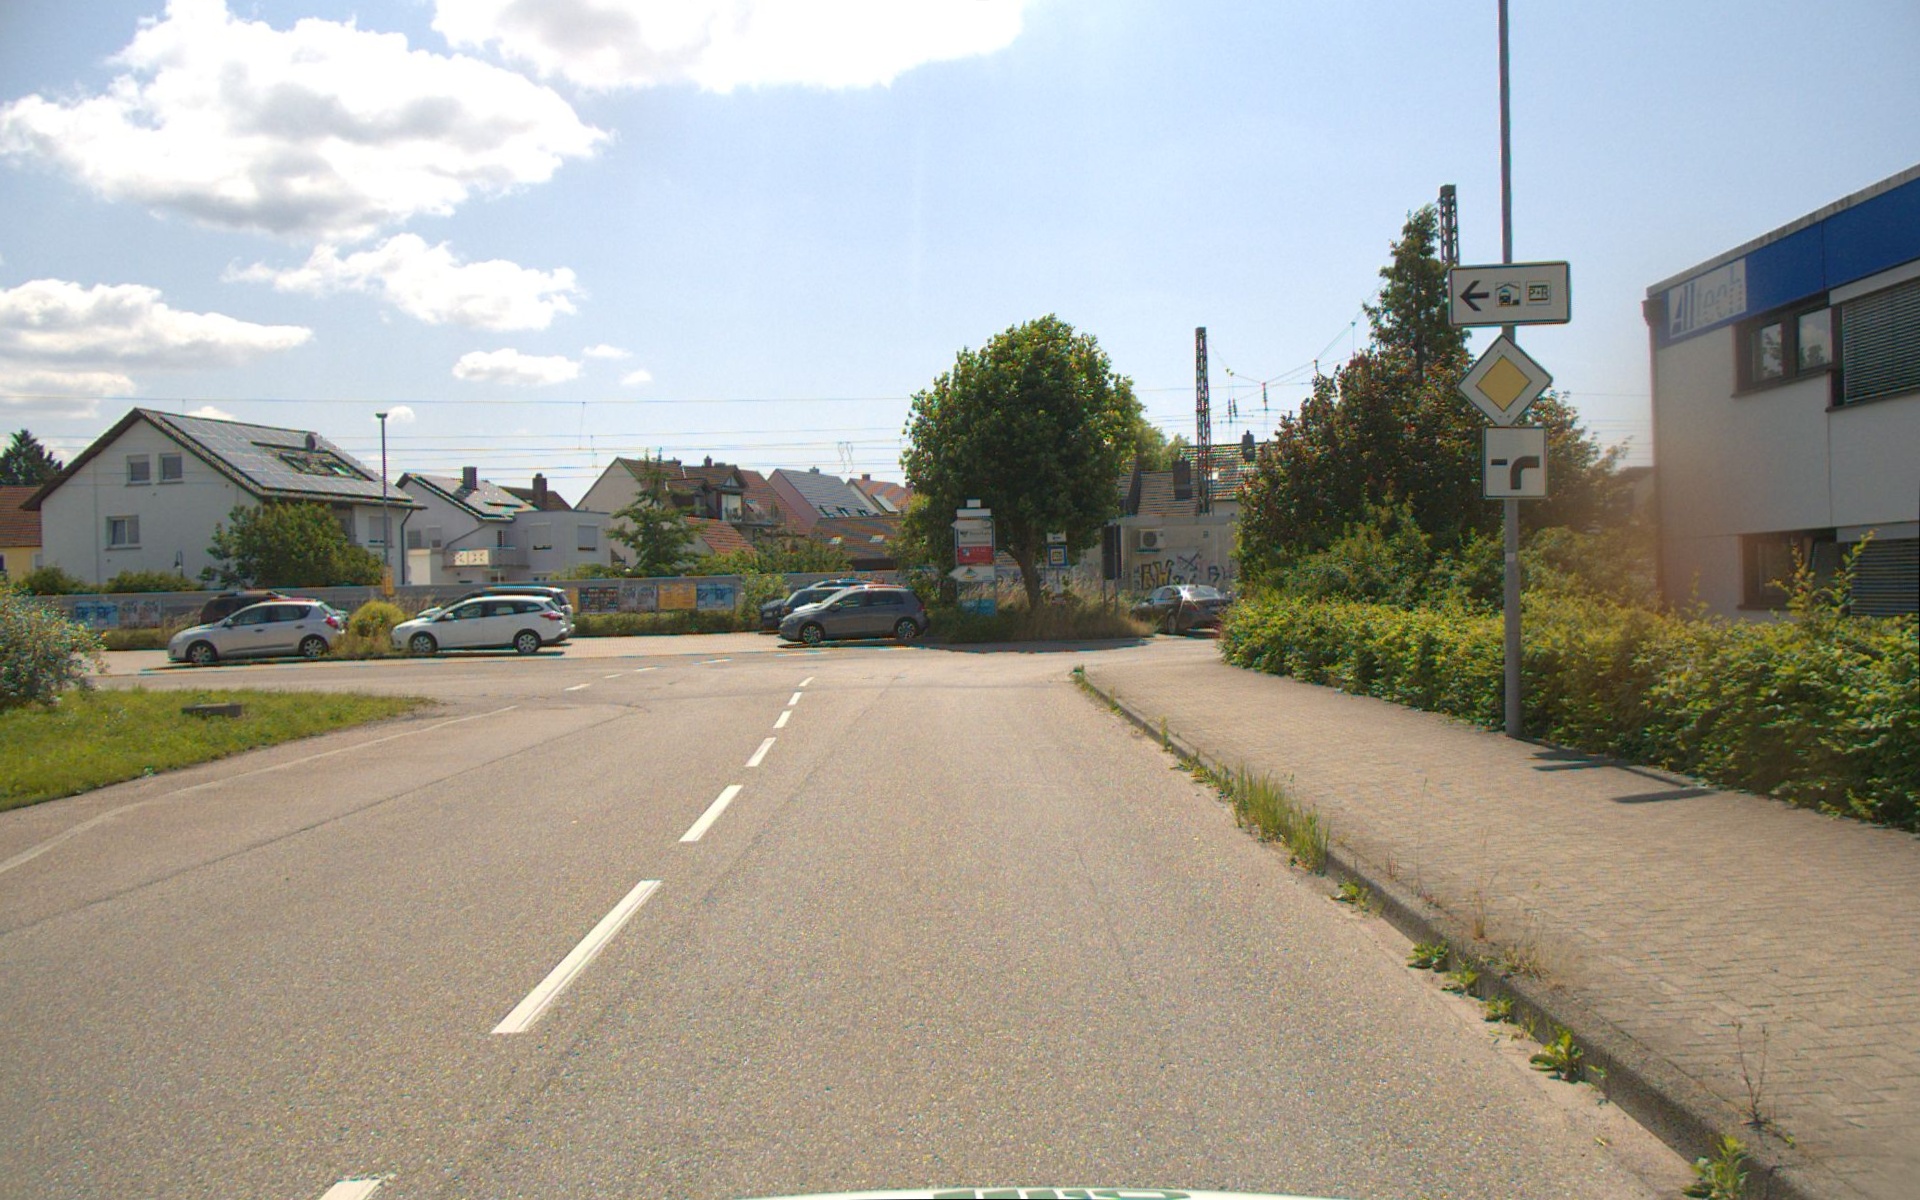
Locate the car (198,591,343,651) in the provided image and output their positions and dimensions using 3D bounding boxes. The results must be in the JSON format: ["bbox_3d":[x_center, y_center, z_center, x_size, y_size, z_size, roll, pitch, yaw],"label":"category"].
[{"bbox_3d":[-20.404,0.612,49.089,3.769,1.617,1.491,-2,0,-16],"label":"car"}]

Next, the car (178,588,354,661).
[{"bbox_3d":[-18.529,0.644,44.348,4.095,1.667,1.946,-3,0,-17],"label":"car"}]

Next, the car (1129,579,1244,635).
[{"bbox_3d":[6.636,0.166,48.866,1.726,1.410,3.978,0,3,-20],"label":"car"}]

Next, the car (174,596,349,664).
[{"bbox_3d":[-17.817,0.738,42.355,3.939,1.589,1.813,-1,0,-18],"label":"car"}]

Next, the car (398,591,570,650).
[{"bbox_3d":[-12.460,0.538,43.531,4.208,1.502,1.822,0,-1,-12],"label":"car"}]

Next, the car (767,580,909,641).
[{"bbox_3d":[-3.549,0.286,47.753,3.914,1.614,1.776,-2,0,-10],"label":"car"}]

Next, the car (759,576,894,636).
[{"bbox_3d":[-4.090,0.161,50.459,3.915,1.686,1.995,-2,0,-10],"label":"car"}]

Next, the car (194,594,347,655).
[{"bbox_3d":[-19.473,0.670,46.833,3.718,1.585,1.688,-2,0,-14],"label":"car"}]

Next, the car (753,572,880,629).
[{"bbox_3d":[-4.613,0.035,53.017,3.914,1.760,1.766,0,-1,-10],"label":"car"}]

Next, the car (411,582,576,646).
[{"bbox_3d":[-13.500,0.386,48.114,4.369,1.720,1.996,-1,1,-9],"label":"car"}]

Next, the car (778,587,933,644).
[{"bbox_3d":[-2.898,0.416,45.512,4.110,1.488,1.661,-1,0,-9],"label":"car"}]
